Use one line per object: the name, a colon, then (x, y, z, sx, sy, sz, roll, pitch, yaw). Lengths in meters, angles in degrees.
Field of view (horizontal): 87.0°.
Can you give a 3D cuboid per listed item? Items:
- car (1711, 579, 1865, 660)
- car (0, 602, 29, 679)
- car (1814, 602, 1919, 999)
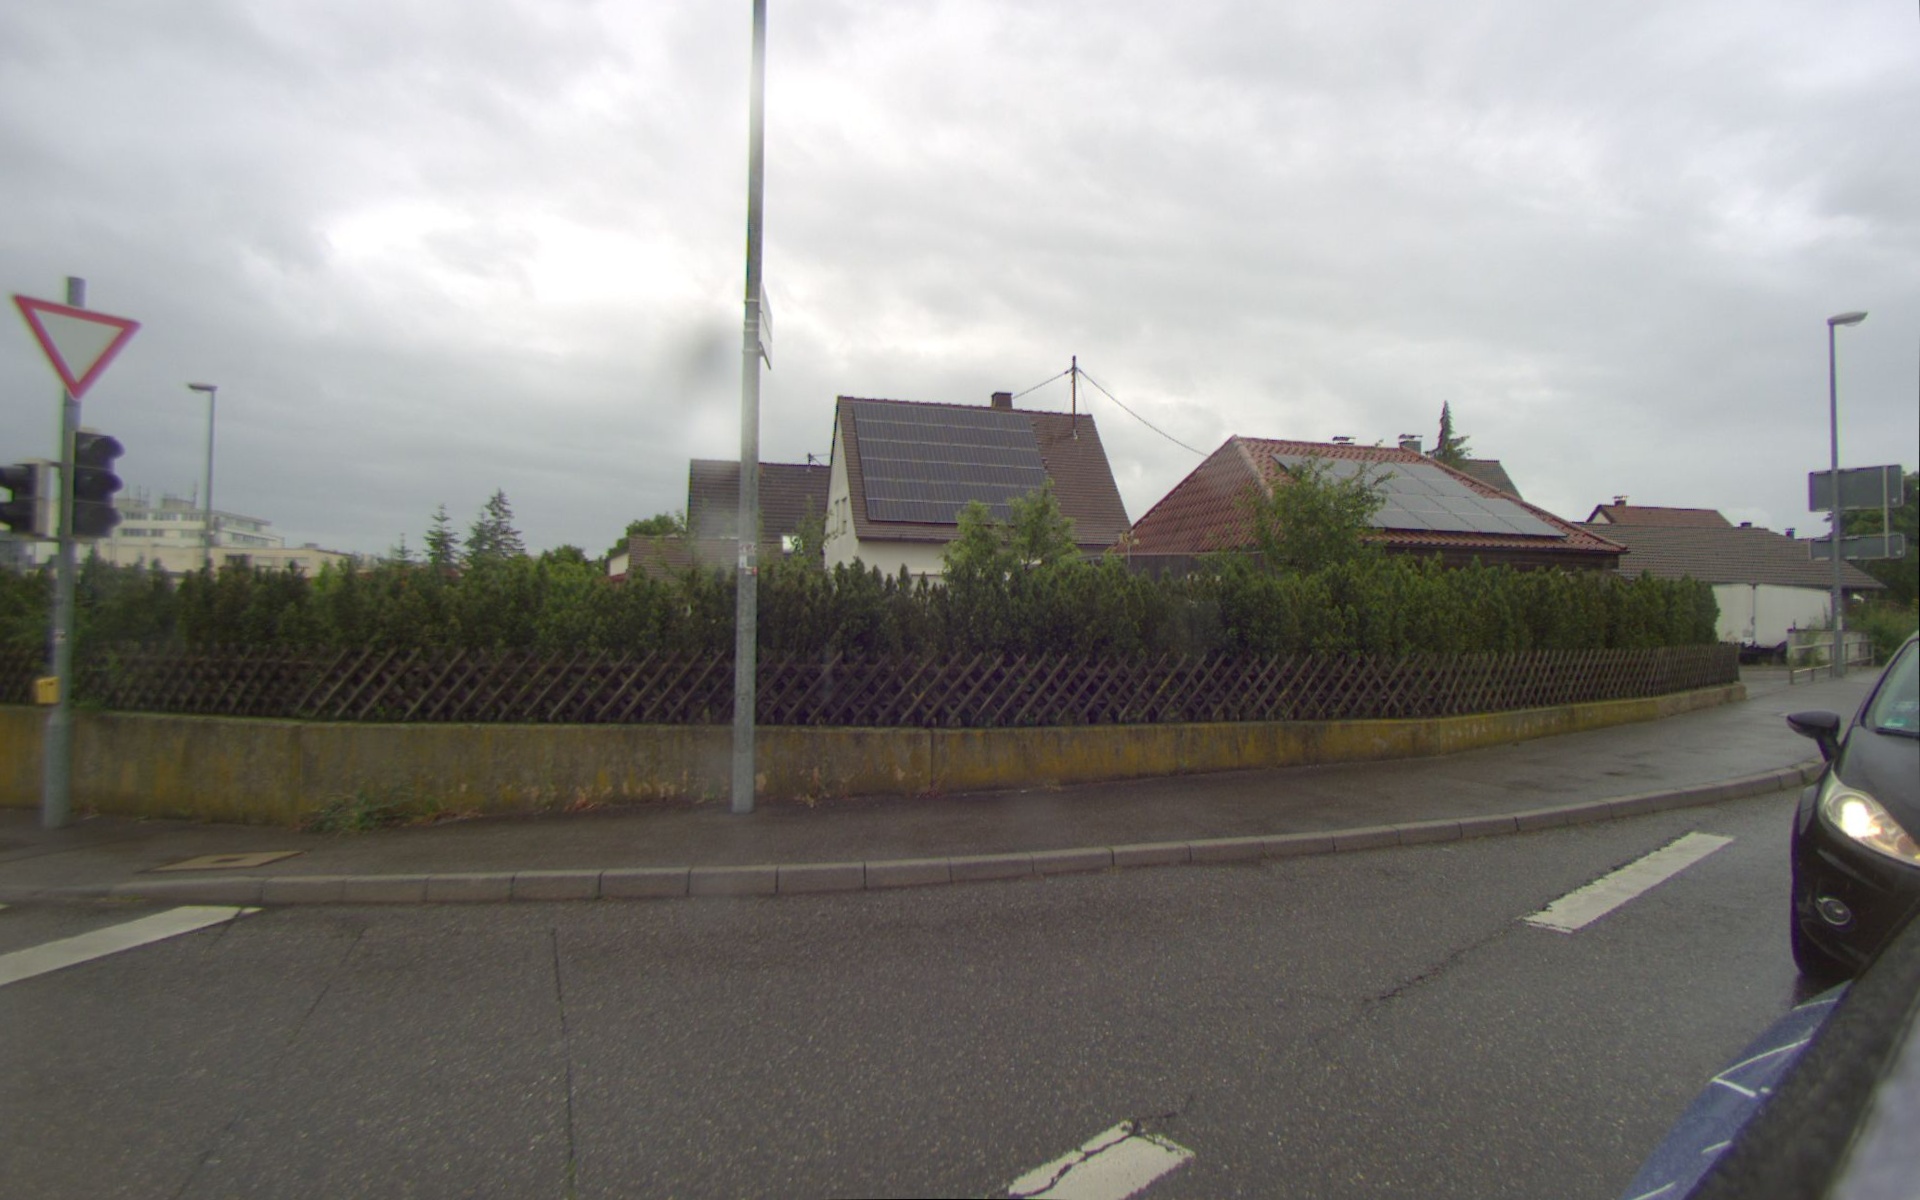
car: (25.505, 0.573, 31.212, 3.916, 2.380, 1.657, 0, -1, -14)
car: (-24.104, 1.021, 23.771, 1.958, 1.867, 4.491, 0, 0, -24)
car: (5.341, 0.752, 4.703, 3.867, 1.436, 1.663, -1, 1, -43)
